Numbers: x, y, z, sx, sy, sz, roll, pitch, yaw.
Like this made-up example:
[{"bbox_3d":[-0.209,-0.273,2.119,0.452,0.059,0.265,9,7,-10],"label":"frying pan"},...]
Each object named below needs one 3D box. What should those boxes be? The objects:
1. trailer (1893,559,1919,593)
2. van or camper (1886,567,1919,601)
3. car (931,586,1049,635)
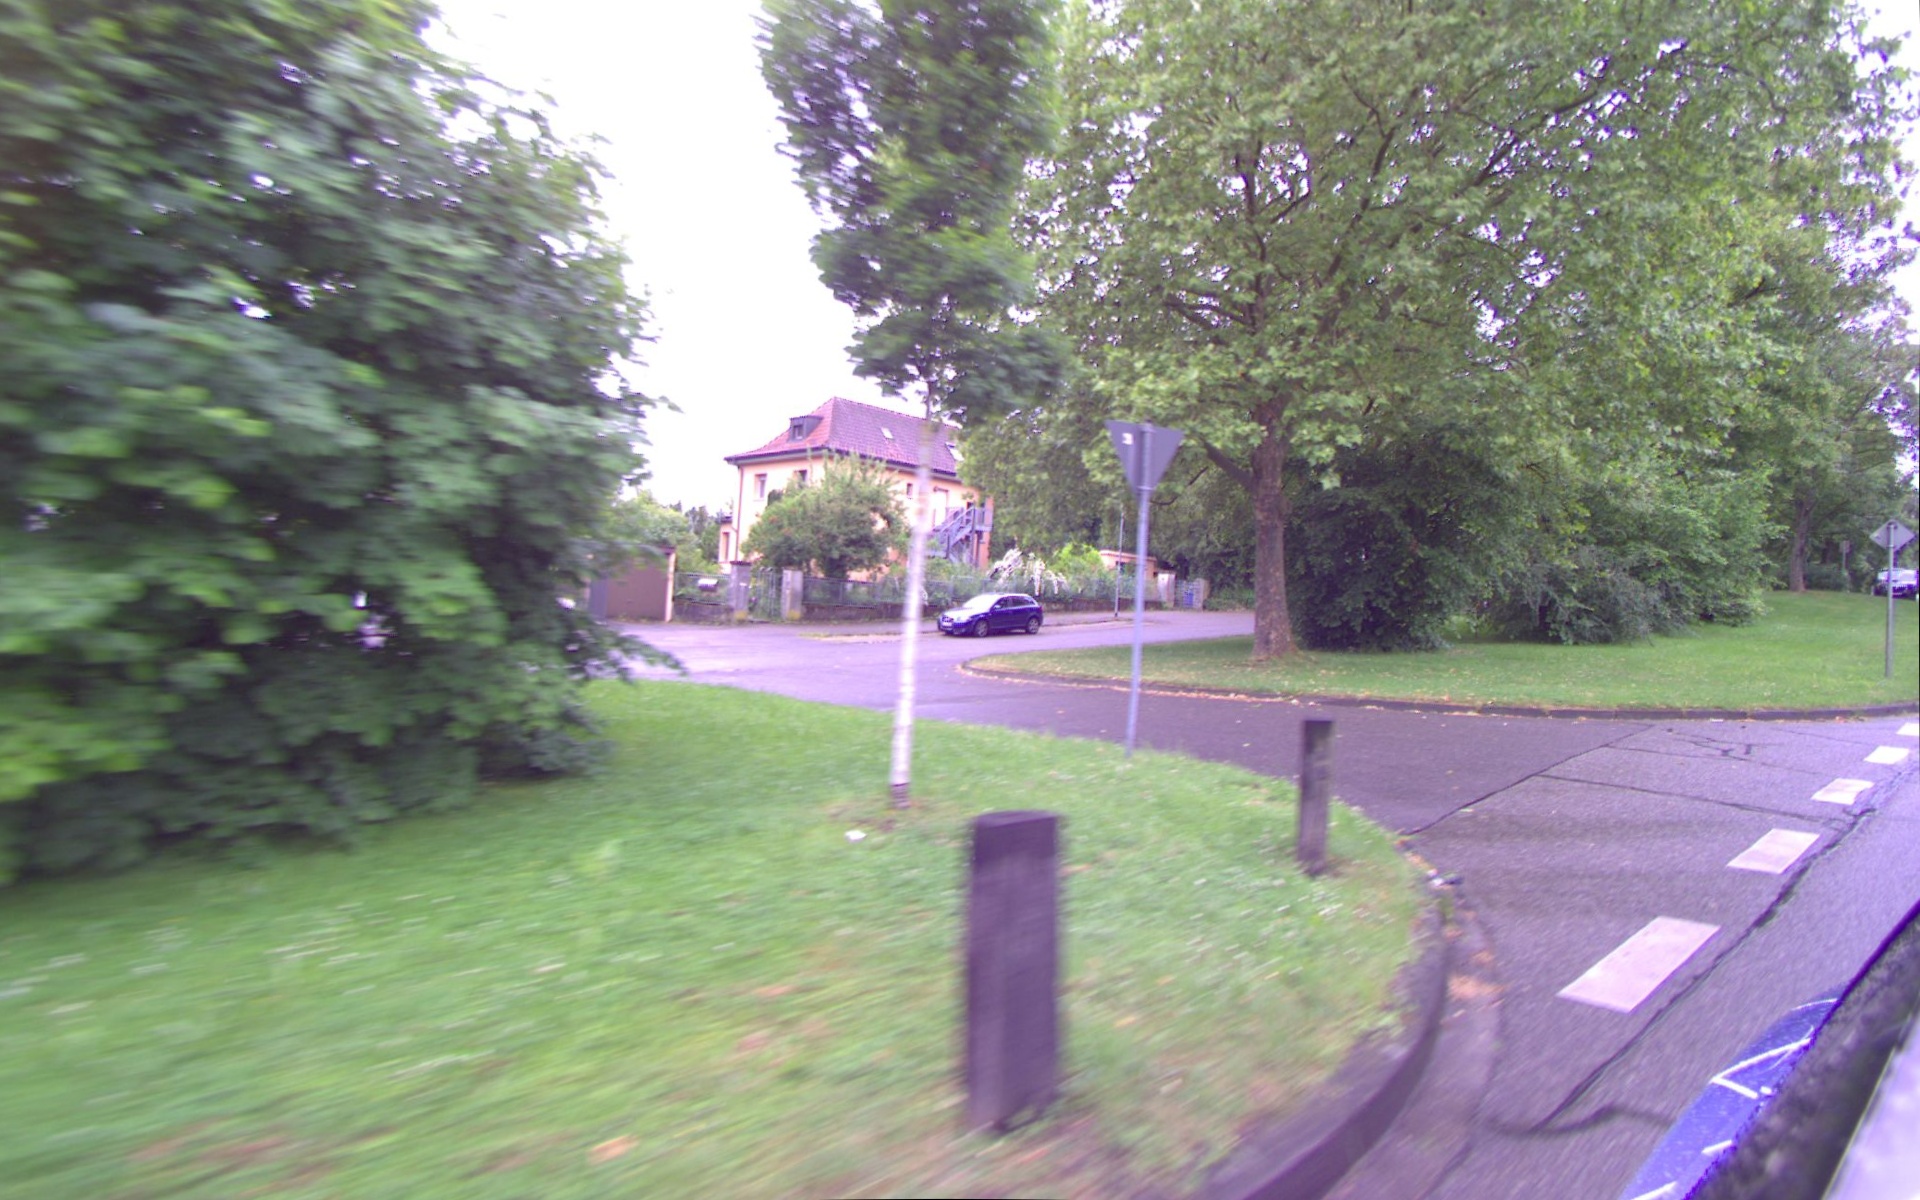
[{"bbox_3d":[59.801,-1.521,63.542,1.696,2.079,3.890,3,3,43],"label":"trailer"},{"bbox_3d":[56.428,-0.965,60.077,1.994,1.891,5.577,4,3,43],"label":"van or camper"},{"bbox_3d":[1.066,0.319,34.758,3.993,1.498,1.647,-1,4,-42],"label":"car"}]
